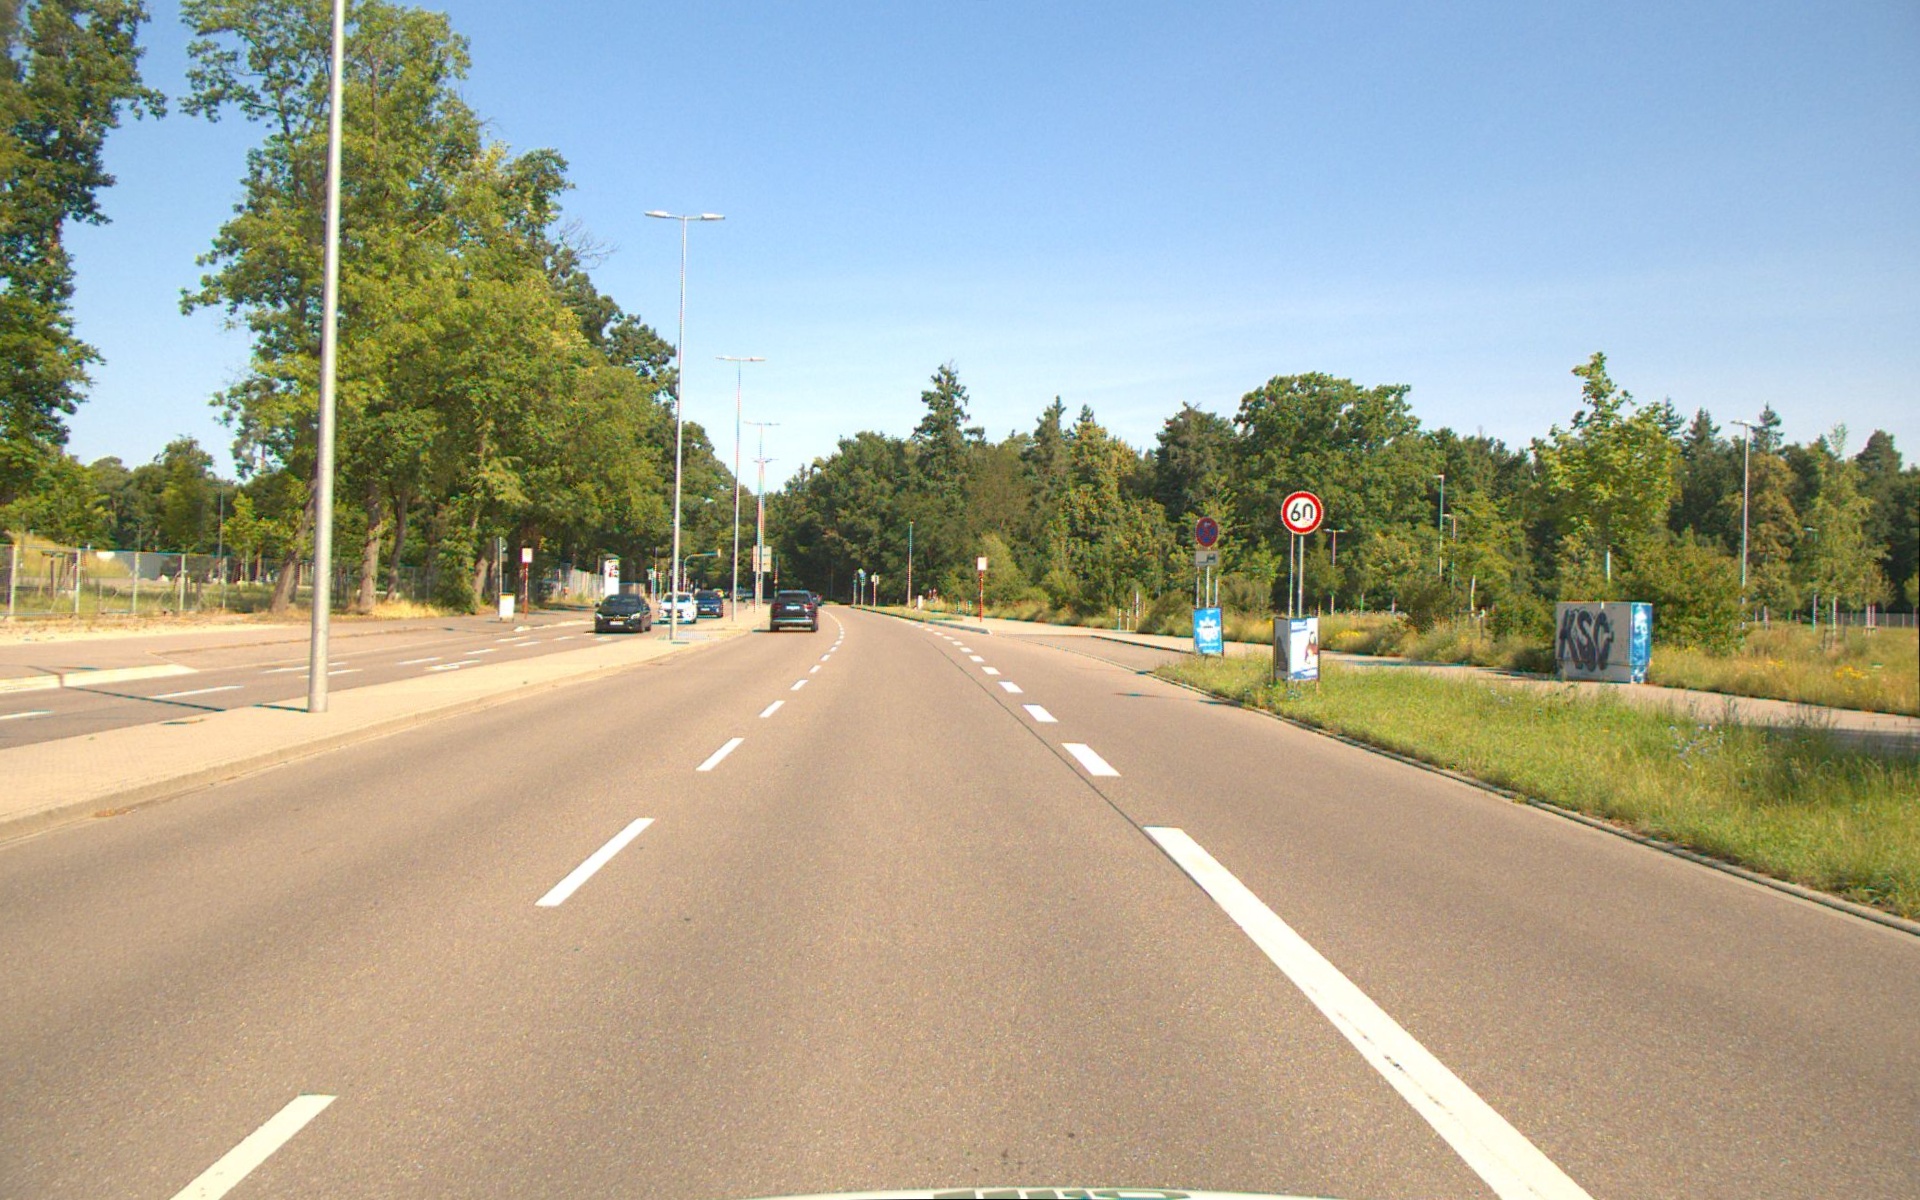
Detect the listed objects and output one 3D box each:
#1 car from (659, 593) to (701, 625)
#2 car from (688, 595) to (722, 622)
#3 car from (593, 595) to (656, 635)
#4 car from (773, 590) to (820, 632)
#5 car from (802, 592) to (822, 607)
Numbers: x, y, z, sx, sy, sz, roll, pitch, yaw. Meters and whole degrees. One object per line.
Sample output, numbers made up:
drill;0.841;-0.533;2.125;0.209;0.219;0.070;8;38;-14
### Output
car;-13.443;0.417;79.533;1.591;1.492;3.798;-1;0;-3
car;-15.118;0.501;98.320;1.719;1.512;3.943;-1;0;-5
car;-12.507;0.531;61.891;1.775;1.412;4.158;-1;0;-4
car;-6.320;0.392;64.143;1.654;1.571;4.145;0;0;-3
car;-15.529;-0.058;172.974;1.904;1.445;4.286;1;0;-7
